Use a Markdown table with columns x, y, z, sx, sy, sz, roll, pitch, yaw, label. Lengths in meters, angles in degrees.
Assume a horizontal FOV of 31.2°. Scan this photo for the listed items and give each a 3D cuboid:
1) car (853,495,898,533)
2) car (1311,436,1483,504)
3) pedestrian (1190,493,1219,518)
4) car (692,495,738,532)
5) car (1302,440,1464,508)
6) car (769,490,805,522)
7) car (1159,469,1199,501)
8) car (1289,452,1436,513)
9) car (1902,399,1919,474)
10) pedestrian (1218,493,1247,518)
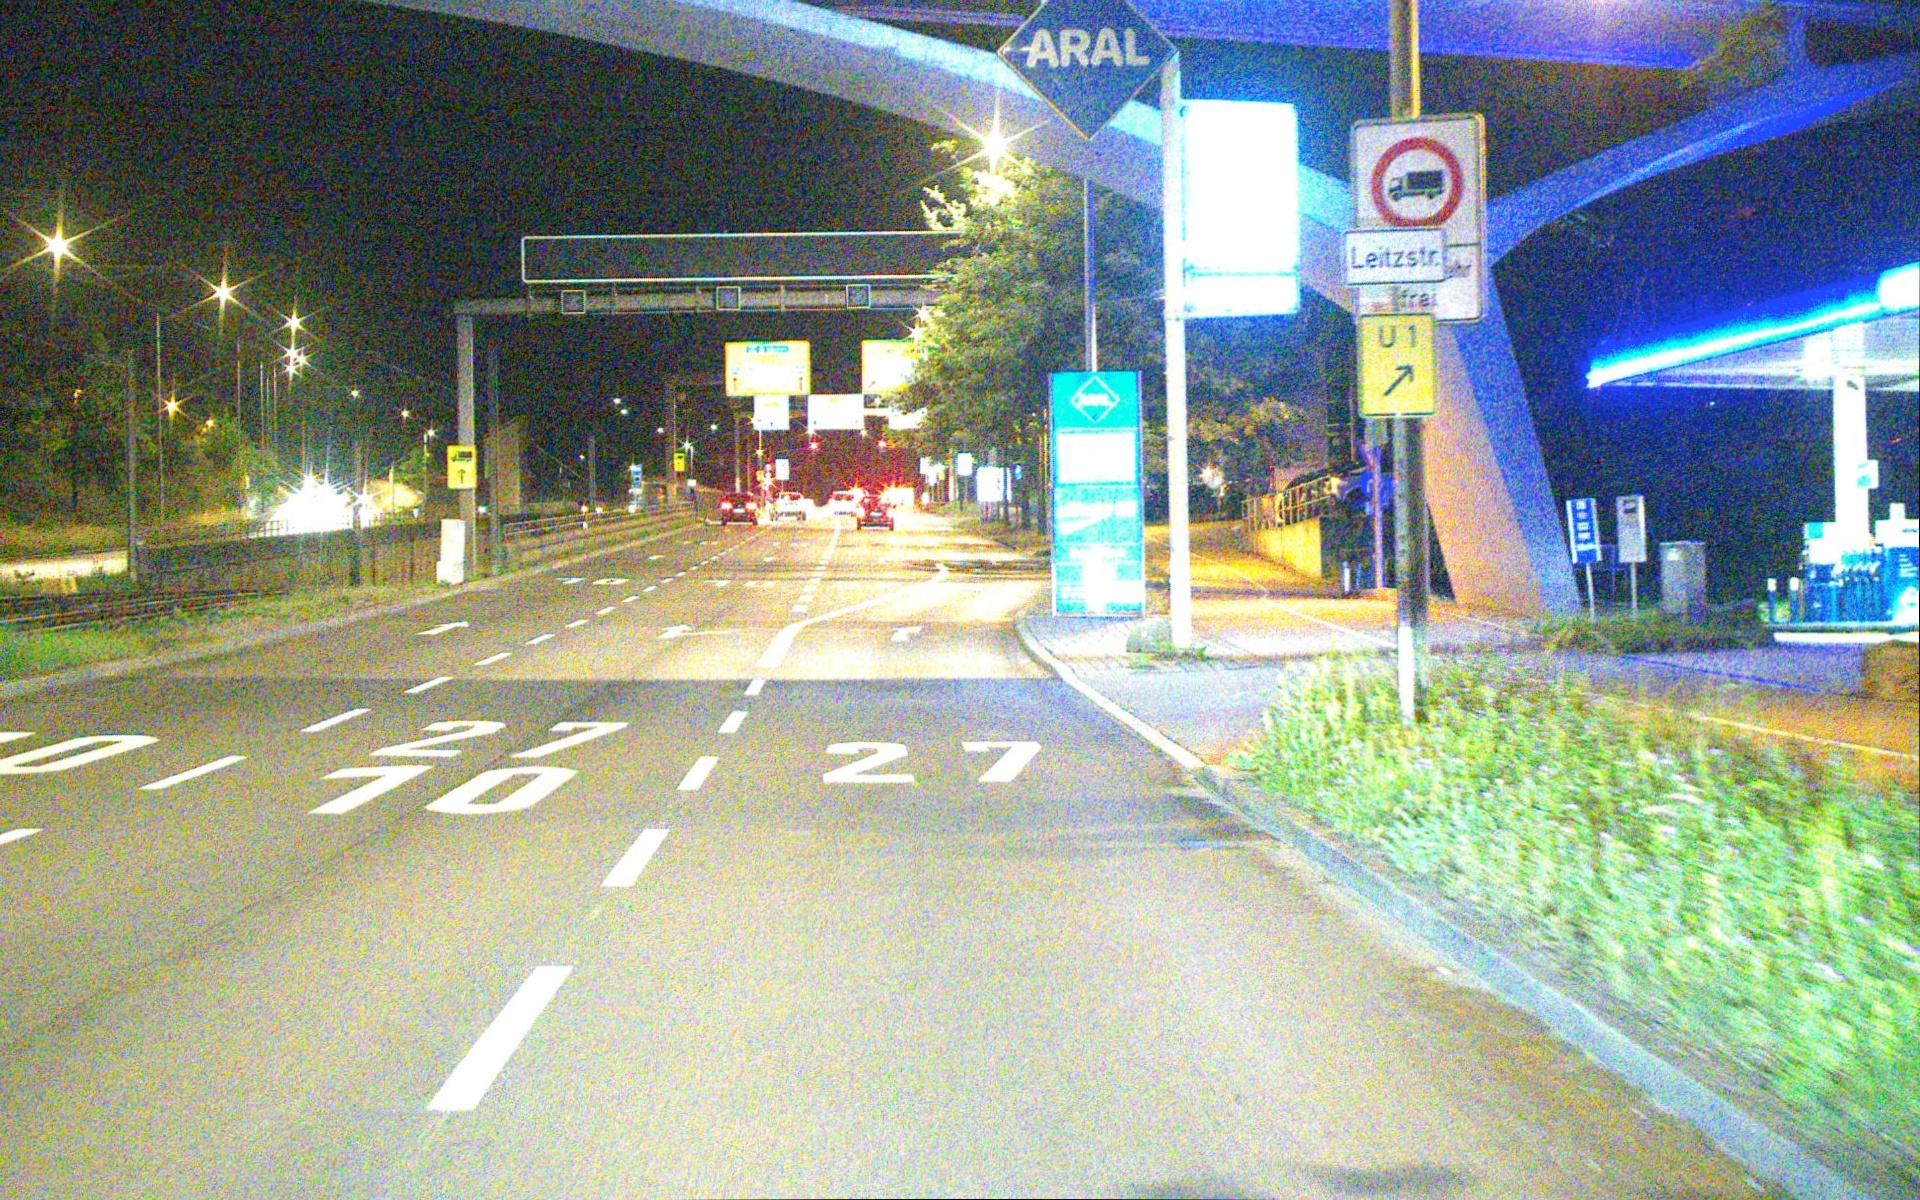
| x | y | z | sx | sy | sz | roll | pitch | yaw | label |
| --- | --- | --- | --- | --- | --- | --- | --- | --- | --- |
| -3.962 | -4.041 | 162.132 | 1.968 | 1.705 | 4.000 | 1 | 0 | 1 | car |
| 11.142 | -3.310 | 87.920 | 4.119 | 1.517 | 1.822 | -2 | 0 | 0 | car |
| 10.201 | -3.942 | 143.236 | 0.913 | 1.035 | 0.770 | 0 | 1 | 42 | pedestrian |
| -12.183 | -4.300 | 171.067 | 1.968 | 1.705 | 4.000 | 1 | 0 | 1 | car |
| 11.094 | -3.302 | 90.391 | 3.987 | 1.566 | 1.738 | -2 | 0 | 0 | car |
| -9.861 | -5.331 | 195.678 | 1.782 | 1.705 | 4.001 | 1 | 0 | -7 | car |
| 11.008 | -5.770 | 172.607 | 1.893 | 1.506 | 3.635 | 1 | 0 | 5 | car |
| 11.127 | -3.255 | 95.194 | 3.724 | 1.484 | 1.742 | -2 | 0 | -3 | car |
| 26.313 | -4.185 | 88.101 | 3.808 | 1.889 | 1.753 | 0 | 0 | -4 | car |
| 11.359 | -3.939 | 143.386 | 0.997 | 1.004 | 0.772 | 1 | 0 | -17 | pedestrian |
